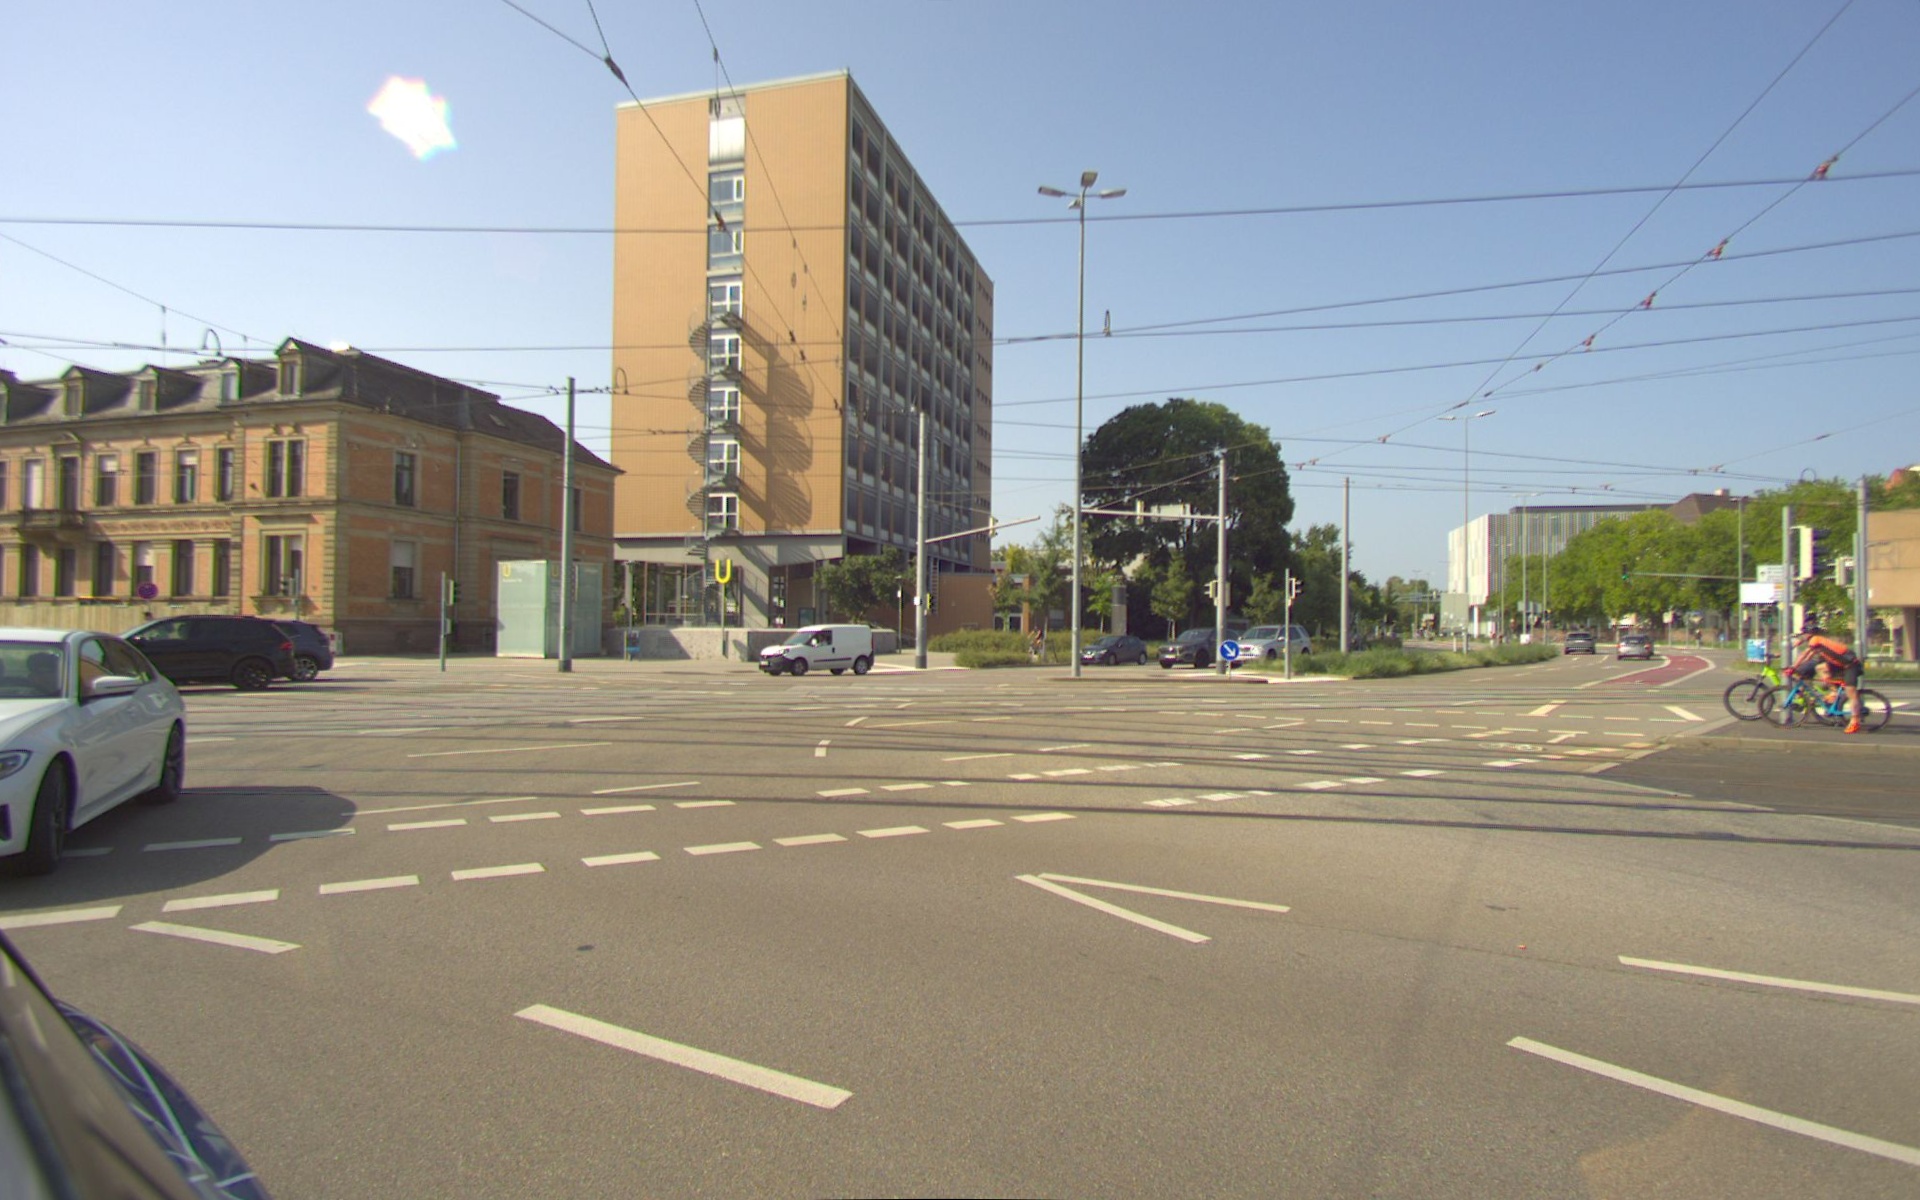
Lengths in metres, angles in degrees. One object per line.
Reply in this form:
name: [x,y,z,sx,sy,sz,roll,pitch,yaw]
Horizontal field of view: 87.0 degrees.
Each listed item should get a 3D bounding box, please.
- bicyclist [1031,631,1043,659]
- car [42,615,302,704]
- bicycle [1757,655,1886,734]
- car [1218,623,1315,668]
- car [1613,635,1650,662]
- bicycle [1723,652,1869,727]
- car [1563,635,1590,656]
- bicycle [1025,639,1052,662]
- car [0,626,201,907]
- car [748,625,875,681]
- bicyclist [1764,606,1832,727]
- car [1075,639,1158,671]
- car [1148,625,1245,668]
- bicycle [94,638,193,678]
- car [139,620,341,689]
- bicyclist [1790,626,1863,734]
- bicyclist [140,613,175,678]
bicyclist: [4.152,2.439,54.354,0.541,1.491,0.397,2,-3,-44]
car: [-16.762,1.257,21.731,4.221,1.720,1.771,2,-4,-40]
bicycle: [13.561,1.463,15.958,1.499,1.174,0.307,-2,-3,44]
car: [12.416,1.862,40.891,1.953,1.720,4.227,-4,-5,44]
car: [39.734,2.829,59.877,1.778,1.519,3.954,-1,-2,34]
bicycle: [14.113,1.486,17.130,1.860,1.174,0.372,-2,-3,44]
car: [43.779,3.210,71.830,1.490,1.462,3.483,-1,-2,34]
bicycle: [4.208,2.713,54.418,0.402,1.203,1.746,-2,-3,45]
car: [-6.570,0.924,6.522,1.783,1.438,4.790,-1,-1,-26]
car: [-5.316,1.919,36.455,4.223,1.901,1.797,2,-5,-41]
bicyclist: [14.195,1.106,17.150,0.808,1.989,0.573,-2,-3,43]
car: [7.519,2.617,48.389,4.225,1.476,1.675,2,-5,-44]
car: [10.013,1.964,42.701,4.225,1.720,1.927,2,-5,-44]
bicycle: [-23.757,1.677,29.495,2.150,1.104,0.530,2,-2,-33]
car: [-17.853,1.340,25.197,3.914,1.594,1.746,2,-4,-42]
bicyclist: [13.611,1.237,15.895,0.808,1.642,0.504,-2,-3,43]
bicyclist: [-23.514,1.329,29.663,0.698,1.876,0.784,2,-2,-33]
